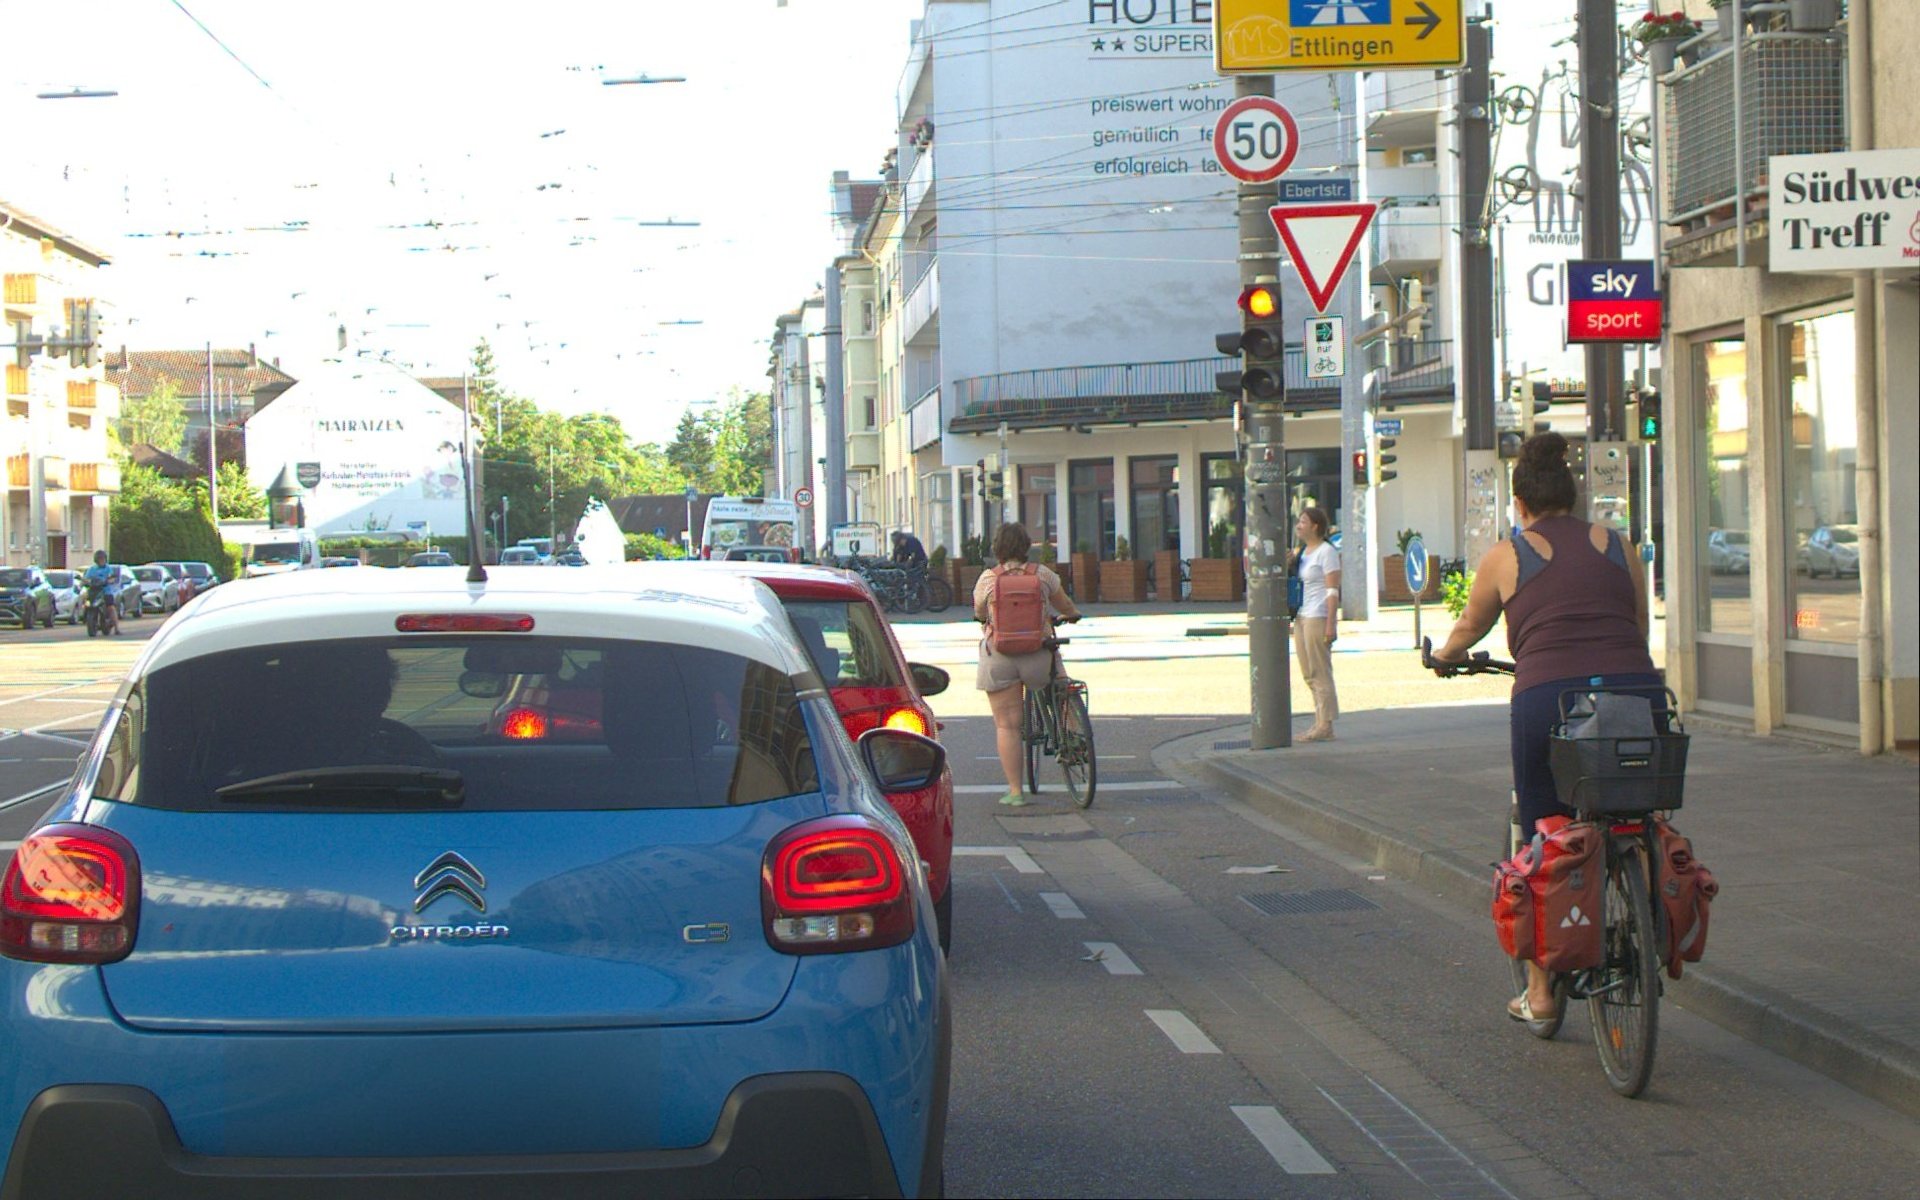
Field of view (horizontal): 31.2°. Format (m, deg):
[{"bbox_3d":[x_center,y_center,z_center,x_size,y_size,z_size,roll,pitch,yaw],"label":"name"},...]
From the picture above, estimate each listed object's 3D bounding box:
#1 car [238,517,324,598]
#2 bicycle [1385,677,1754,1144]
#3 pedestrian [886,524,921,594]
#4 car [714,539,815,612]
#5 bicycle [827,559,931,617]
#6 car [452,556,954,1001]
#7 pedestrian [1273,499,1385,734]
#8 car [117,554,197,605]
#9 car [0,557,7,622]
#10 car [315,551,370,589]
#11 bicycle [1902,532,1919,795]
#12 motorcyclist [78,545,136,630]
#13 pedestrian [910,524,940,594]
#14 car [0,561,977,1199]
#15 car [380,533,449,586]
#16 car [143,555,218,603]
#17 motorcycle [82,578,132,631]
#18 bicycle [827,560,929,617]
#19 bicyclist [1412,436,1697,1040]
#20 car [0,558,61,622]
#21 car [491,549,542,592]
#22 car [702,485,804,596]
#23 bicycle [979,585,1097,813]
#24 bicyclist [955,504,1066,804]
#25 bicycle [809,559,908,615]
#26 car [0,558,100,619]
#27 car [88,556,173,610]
[{"bbox_3d":[-23.655,-1.494,119.931,2.493,2.703,5.839,-1,1,-7],"label":"car"},{"bbox_3d":[1.674,0.814,9.723,0.616,1.099,1.886,-1,1,-2],"label":"bicycle"},{"bbox_3d":[-1.147,-0.838,70.253,0.525,1.415,0.546,-1,1,20],"label":"pedestrian"},{"bbox_3d":[-3.876,-0.508,67.800,1.786,1.354,3.915,-1,1,-6],"label":"car"},{"bbox_3d":[-1.552,-0.235,65.810,1.904,1.061,0.642,-1,1,-7],"label":"bicycle"},{"bbox_3d":[-1.002,0.579,13.580,1.680,1.457,4.001,0,1,-4],"label":"car"},{"bbox_3d":[2.612,0.111,24.370,0.751,1.629,0.740,-1,1,6],"label":"pedestrian"},{"bbox_3d":[-25.352,-0.665,108.653,1.950,1.514,4.001,-1,1,-6],"label":"car"},{"bbox_3d":[-23.315,-0.189,79.221,1.950,1.514,4.001,-1,1,-6],"label":"car"},{"bbox_3d":[-25.969,-1.268,144.565,1.950,1.514,4.001,-1,1,-6],"label":"car"},{"bbox_3d":[4.918,0.316,15.748,0.640,1.260,1.911,-1,1,-1],"label":"bicycle"},{"bbox_3d":[-16.669,-0.248,67.209,0.991,1.625,0.739,-1,1,-9],"label":"motorcyclist"},{"bbox_3d":[-0.714,-0.840,70.002,0.467,1.415,0.527,-1,1,-13],"label":"pedestrian"},{"bbox_3d":[-0.955,0.670,7.370,1.680,1.457,4.001,0,1,-4],"label":"car"},{"bbox_3d":[-17.699,-1.333,111.682,2.004,1.622,5.054,-1,1,-7],"label":"car"},{"bbox_3d":[-26.062,-0.713,114.995,1.950,1.514,4.001,-1,1,-6],"label":"car"},{"bbox_3d":[-16.689,0.077,67.282,0.751,0.973,2.098,-1,1,-9],"label":"motorcycle"},{"bbox_3d":[-1.601,-0.229,67.116,1.904,1.061,0.642,-1,1,-7],"label":"bicycle"},{"bbox_3d":[1.663,0.366,9.699,0.616,1.624,0.760,-1,1,-2],"label":"bicyclist"},{"bbox_3d":[-23.780,-0.262,85.885,1.950,1.514,4.001,-1,1,-6],"label":"car"},{"bbox_3d":[-22.036,-1.485,170.837,2.338,2.032,5.051,-1,1,-6],"label":"car"},{"bbox_3d":[-4.426,-1.270,73.236,2.079,2.262,5.652,0,1,-4],"label":"car"},{"bbox_3d":[0.452,0.562,20.637,0.613,1.260,1.911,-1,1,-1],"label":"bicycle"},{"bbox_3d":[0.295,0.306,20.595,0.600,1.740,1.084,-1,1,-1],"label":"bicyclist"},{"bbox_3d":[-2.020,-0.267,68.308,1.904,1.061,0.642,-1,1,-7],"label":"bicycle"},{"bbox_3d":[-24.300,-0.330,91.943,1.950,1.514,4.001,-1,1,-6],"label":"car"},{"bbox_3d":[-24.919,-0.535,103.374,1.950,1.514,4.001,-1,1,-6],"label":"car"}]
